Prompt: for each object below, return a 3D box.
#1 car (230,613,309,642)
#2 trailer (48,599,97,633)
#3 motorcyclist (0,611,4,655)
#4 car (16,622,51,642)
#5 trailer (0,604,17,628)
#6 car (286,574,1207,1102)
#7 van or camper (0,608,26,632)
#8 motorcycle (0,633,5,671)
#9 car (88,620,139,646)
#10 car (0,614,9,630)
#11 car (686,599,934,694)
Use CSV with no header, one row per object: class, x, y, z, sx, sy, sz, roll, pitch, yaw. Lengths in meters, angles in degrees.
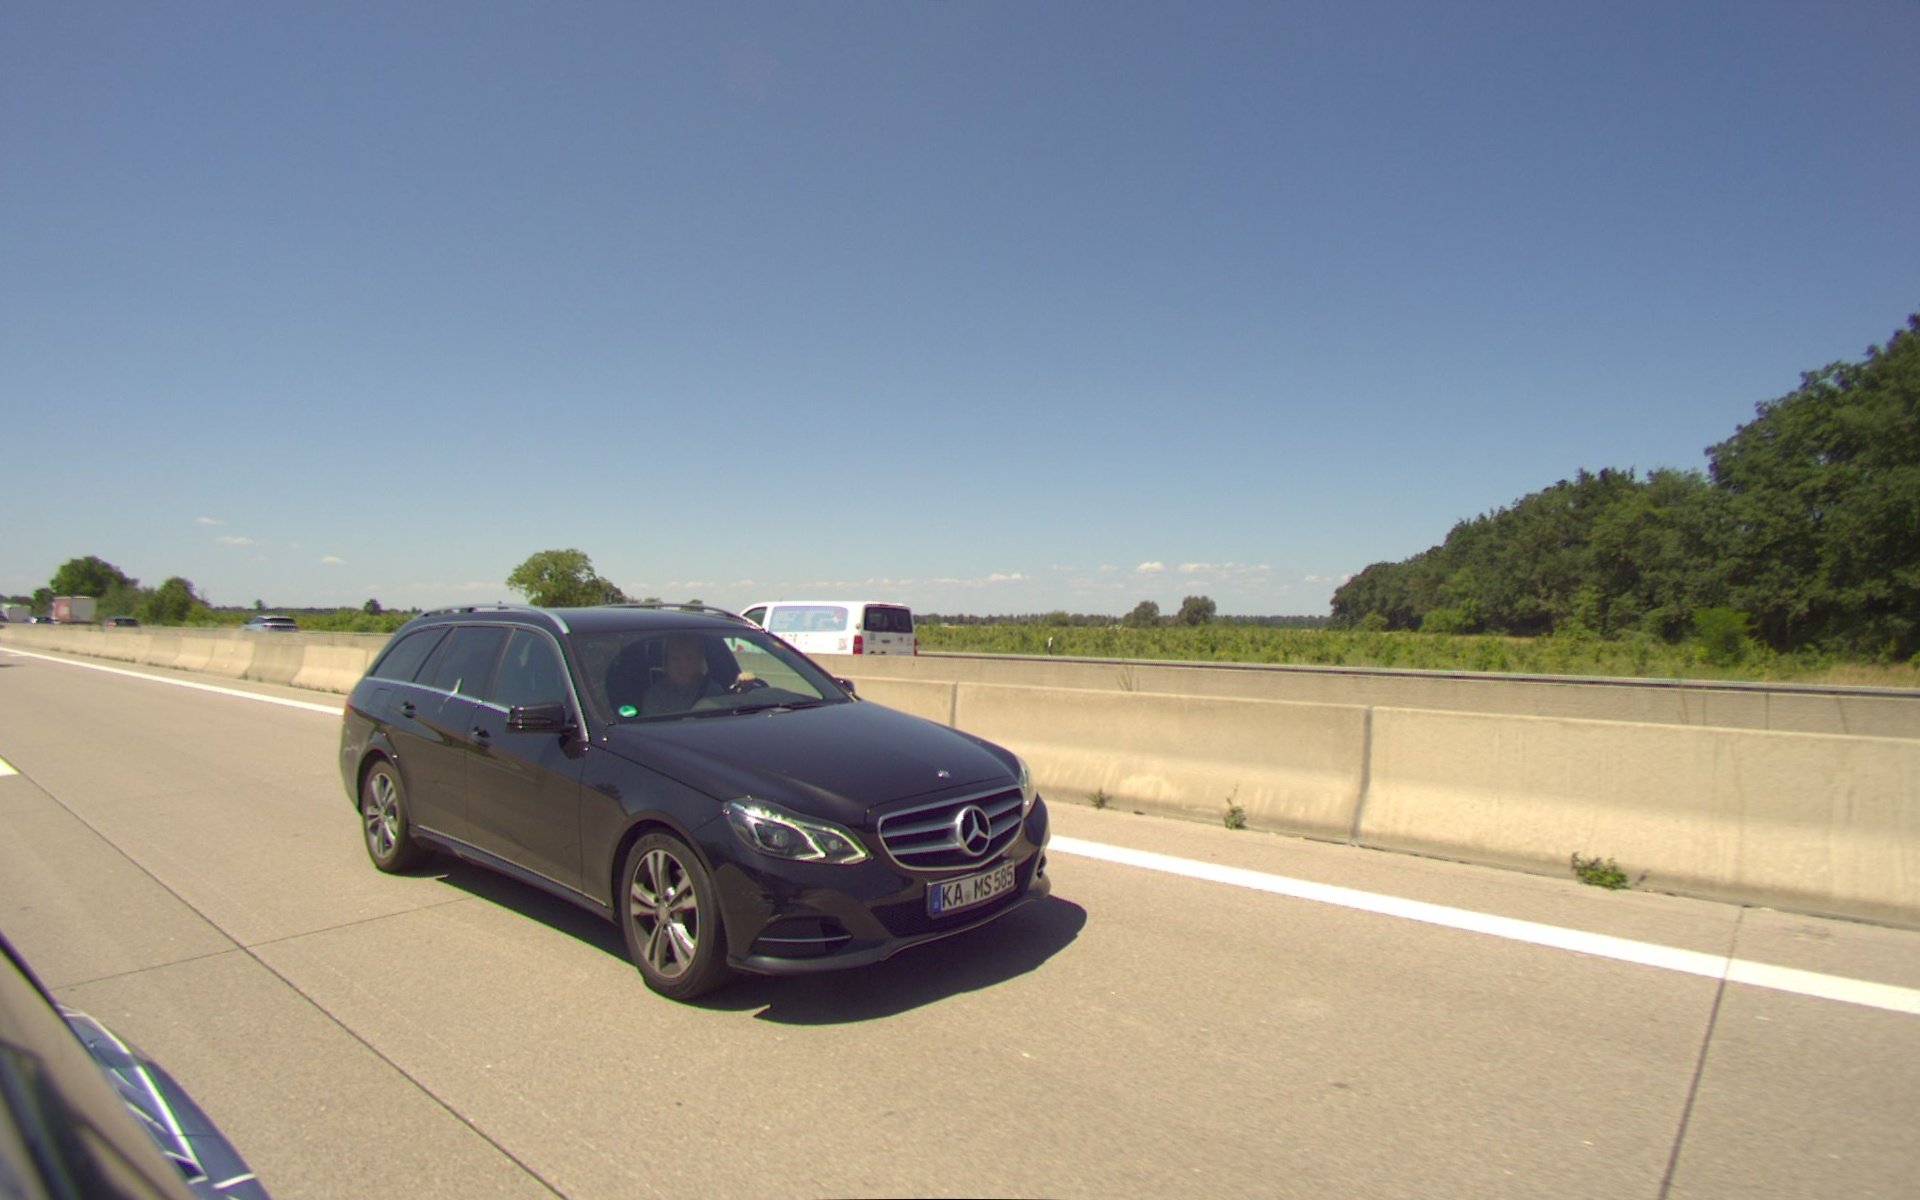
car,-37.289,1.475,54.598,6.132,1.508,2.044,-1,-2,41
trailer,-108.833,2.051,124.065,12.337,4.013,2.968,-1,-2,42
motorcyclist,-27.588,0.929,28.375,0.910,1.218,1.014,-1,-2,40
car,-75.144,2.610,82.065,4.337,1.556,1.670,-1,-2,42
trailer,-161.833,2.765,170.599,11.095,3.907,2.708,-1,-2,40
car,-1.666,0.726,5.429,5.601,1.484,1.871,-1,-2,42
van or camper,-118.224,2.487,125.597,7.932,2.912,2.500,-1,-2,41
motorcycle,-27.773,1.463,28.504,2.411,1.056,1.011,-1,-1,40
car,-51.115,1.988,61.074,4.078,1.508,1.738,-1,-2,41
car,-102.747,2.350,107.691,4.425,1.628,1.823,-1,-2,41
car,-3.269,0.899,21.041,5.790,1.731,1.807,-1,-1,41
